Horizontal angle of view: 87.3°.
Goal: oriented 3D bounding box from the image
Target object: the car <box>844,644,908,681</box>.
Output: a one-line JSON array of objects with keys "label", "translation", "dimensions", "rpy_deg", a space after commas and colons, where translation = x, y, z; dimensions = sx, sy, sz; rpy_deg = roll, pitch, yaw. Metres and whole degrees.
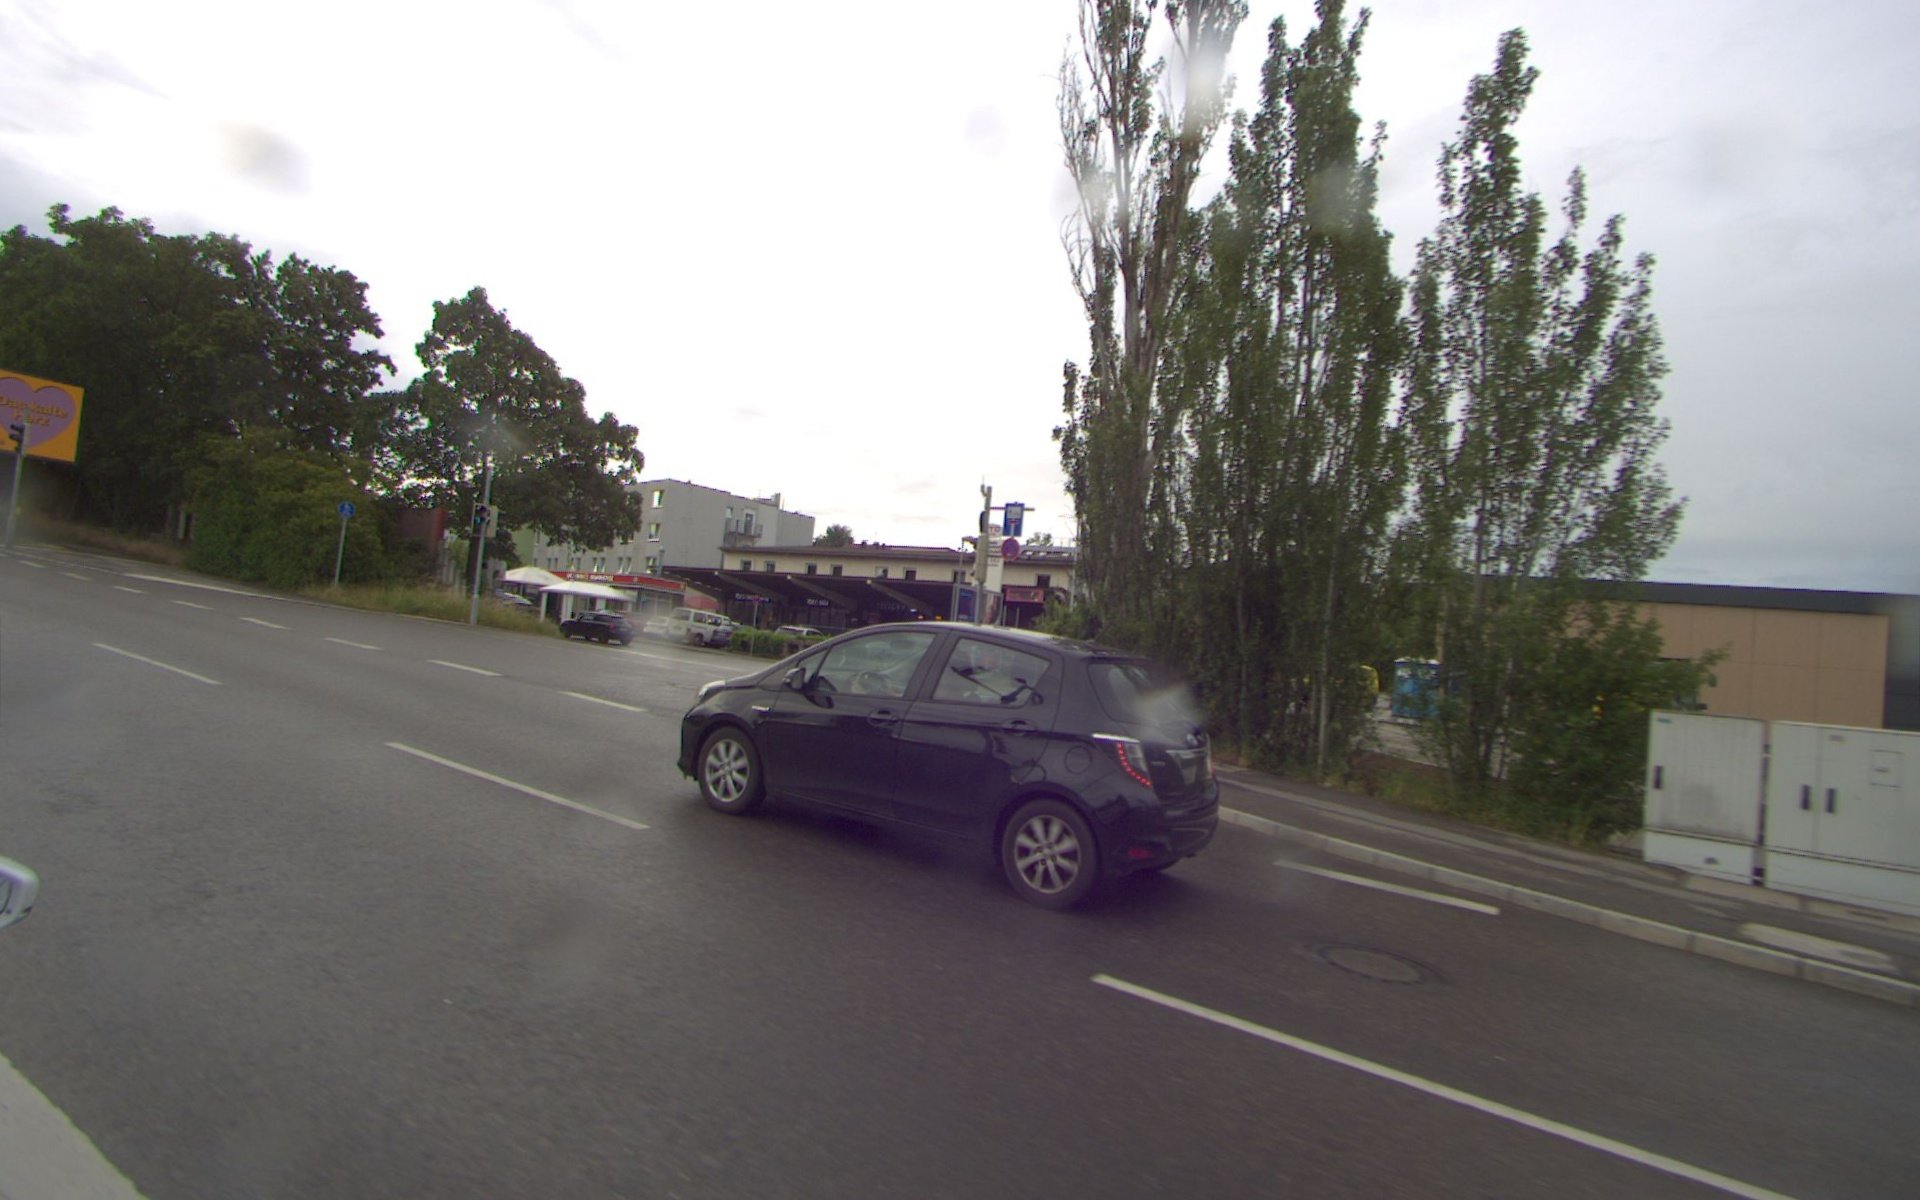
[{"label": "car", "translation": [-4.408, 3.327, 53.176], "dimensions": [1.490, 1.581, 3.881], "rpy_deg": [7, -3, 25]}]

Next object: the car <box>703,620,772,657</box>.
[{"label": "car", "translation": [-12.124, 2.120, 55.055], "dimensions": [1.490, 1.581, 3.881], "rpy_deg": [7, -3, 25]}]

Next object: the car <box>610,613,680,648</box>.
[{"label": "car", "translation": [-18.330, 1.800, 58.671], "dimensions": [1.490, 1.581, 3.881], "rpy_deg": [7, -3, 25]}]

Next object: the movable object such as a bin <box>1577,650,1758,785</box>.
[{"label": "movable object such as a bin", "translation": [17.063, 2.869, 24.175], "dimensions": [4.939, 2.648, 1.882], "rpy_deg": [10, -2, -36]}]

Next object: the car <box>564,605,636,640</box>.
[{"label": "car", "translation": [-21.009, 1.348, 58.799], "dimensions": [1.490, 1.581, 3.881], "rpy_deg": [7, -3, 25]}]

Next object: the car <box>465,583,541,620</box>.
[{"label": "car", "translation": [-25.848, 0.058, 56.852], "dimensions": [4.075, 1.603, 1.782], "rpy_deg": [4, -5, 32]}]

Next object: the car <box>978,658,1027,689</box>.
[{"label": "car", "translation": [2.625, 4.490, 61.250], "dimensions": [1.490, 1.581, 3.882], "rpy_deg": [7, -3, 23]}]

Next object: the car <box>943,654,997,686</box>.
[{"label": "car", "translation": [0.648, 4.372, 62.796], "dimensions": [1.882, 1.581, 3.882], "rpy_deg": [7, -3, 23]}]

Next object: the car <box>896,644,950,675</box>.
[{"label": "car", "translation": [-2.355, 3.867, 64.932], "dimensions": [1.882, 1.581, 3.882], "rpy_deg": [7, -3, 23]}]

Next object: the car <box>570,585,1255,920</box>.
[{"label": "car", "translation": [-0.492, 0.867, 7.139], "dimensions": [4.566, 1.486, 1.749], "rpy_deg": [4, -4, 32]}]

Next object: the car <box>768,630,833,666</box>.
[{"label": "car", "translation": [-8.841, 2.712, 56.095], "dimensions": [1.490, 1.581, 3.881], "rpy_deg": [7, -3, 25]}]

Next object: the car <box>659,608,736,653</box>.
[{"label": "car", "translation": [-14.414, 1.721, 55.419], "dimensions": [1.824, 1.968, 3.881], "rpy_deg": [7, -3, 25]}]

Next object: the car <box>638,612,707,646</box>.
[{"label": "car", "translation": [-16.286, 1.668, 57.149], "dimensions": [1.490, 1.413, 3.881], "rpy_deg": [7, -3, 25]}]

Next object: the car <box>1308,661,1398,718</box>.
[{"label": "car", "translation": [15.711, 3.607, 40.106], "dimensions": [2.075, 1.821, 4.315], "rpy_deg": [6, -2, 37]}]
